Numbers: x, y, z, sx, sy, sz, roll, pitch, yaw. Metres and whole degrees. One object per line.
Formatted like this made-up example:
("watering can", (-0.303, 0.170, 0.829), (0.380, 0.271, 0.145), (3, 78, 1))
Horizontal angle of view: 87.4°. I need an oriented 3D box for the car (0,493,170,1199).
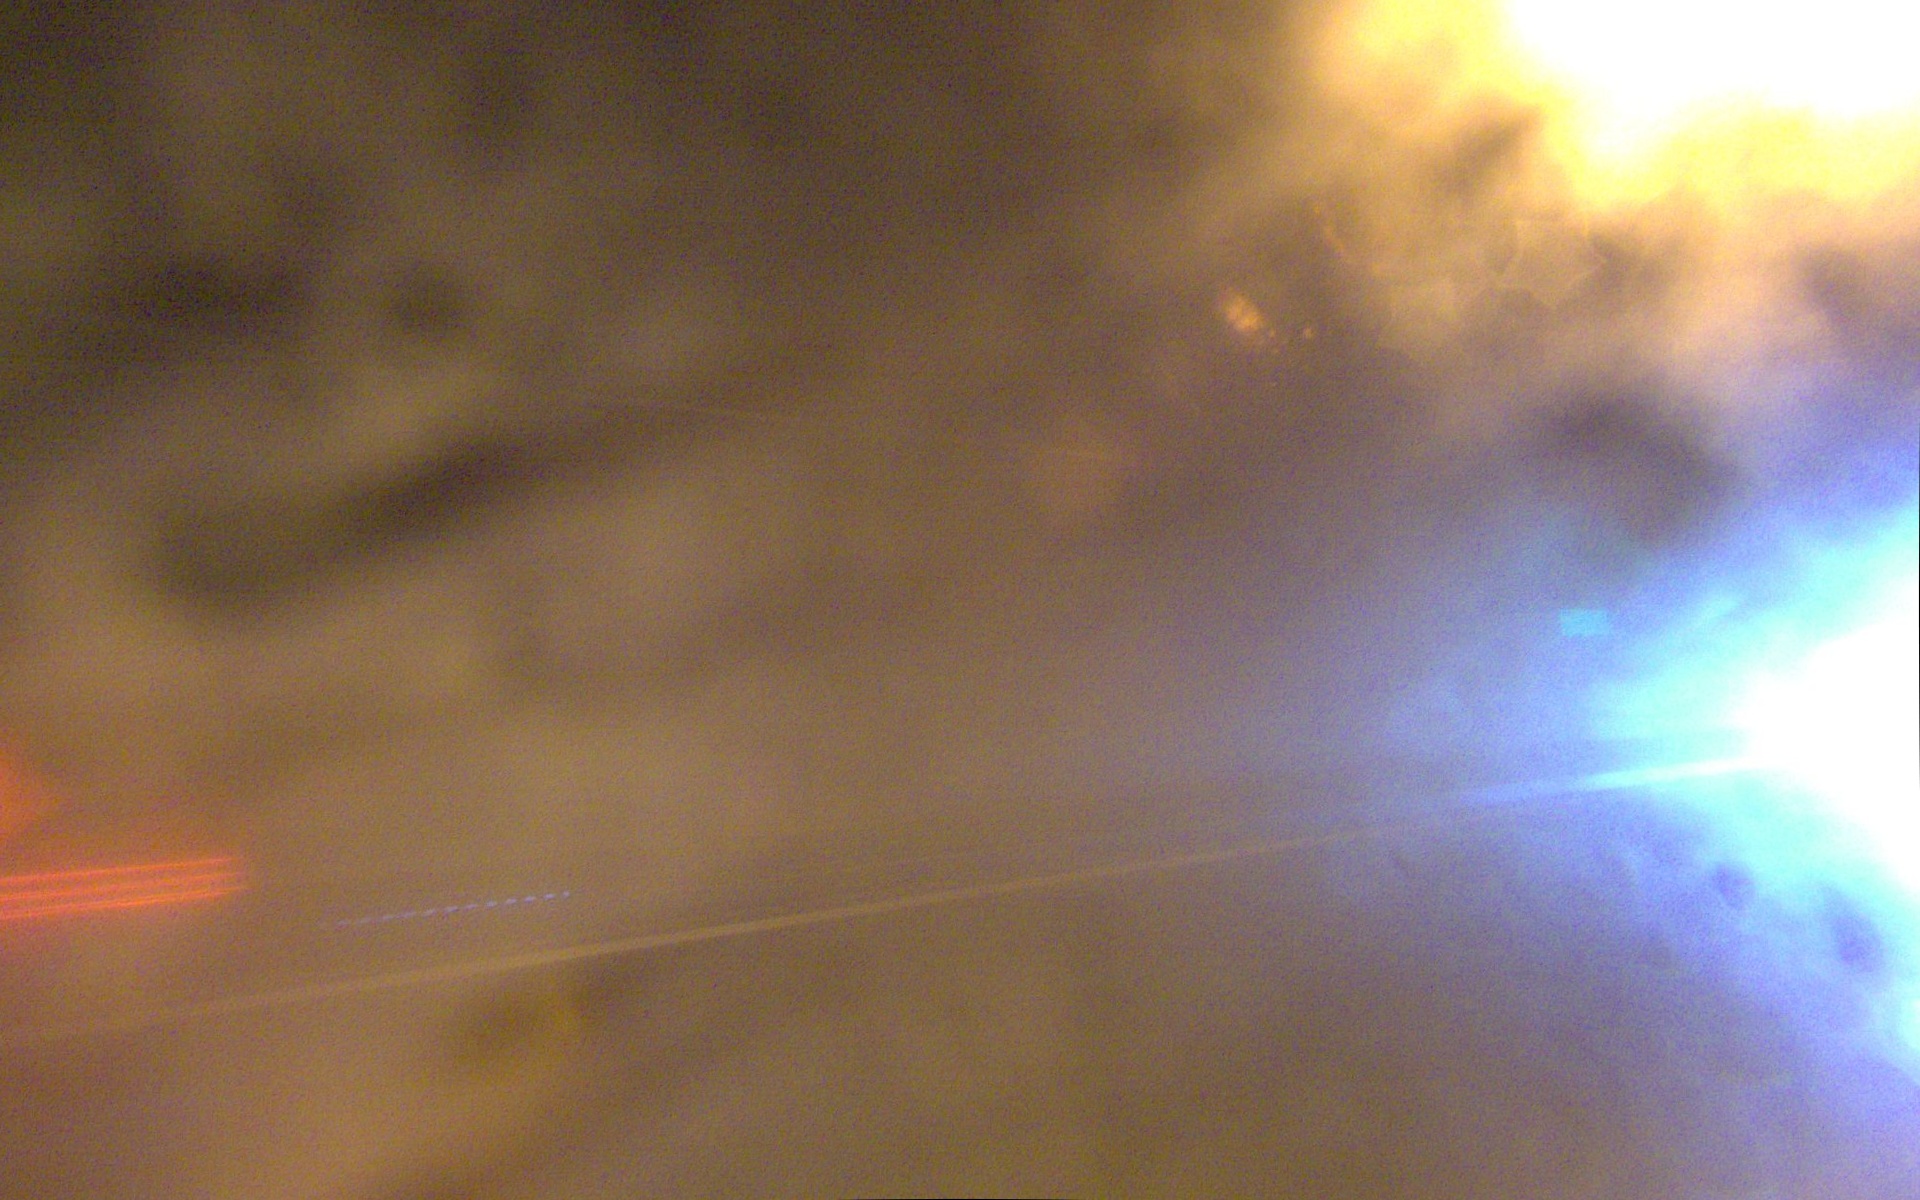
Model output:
("car", (-3.239, 0.608, 1.054), (3.543, 1.634, 1.616), (2, 0, -30))
